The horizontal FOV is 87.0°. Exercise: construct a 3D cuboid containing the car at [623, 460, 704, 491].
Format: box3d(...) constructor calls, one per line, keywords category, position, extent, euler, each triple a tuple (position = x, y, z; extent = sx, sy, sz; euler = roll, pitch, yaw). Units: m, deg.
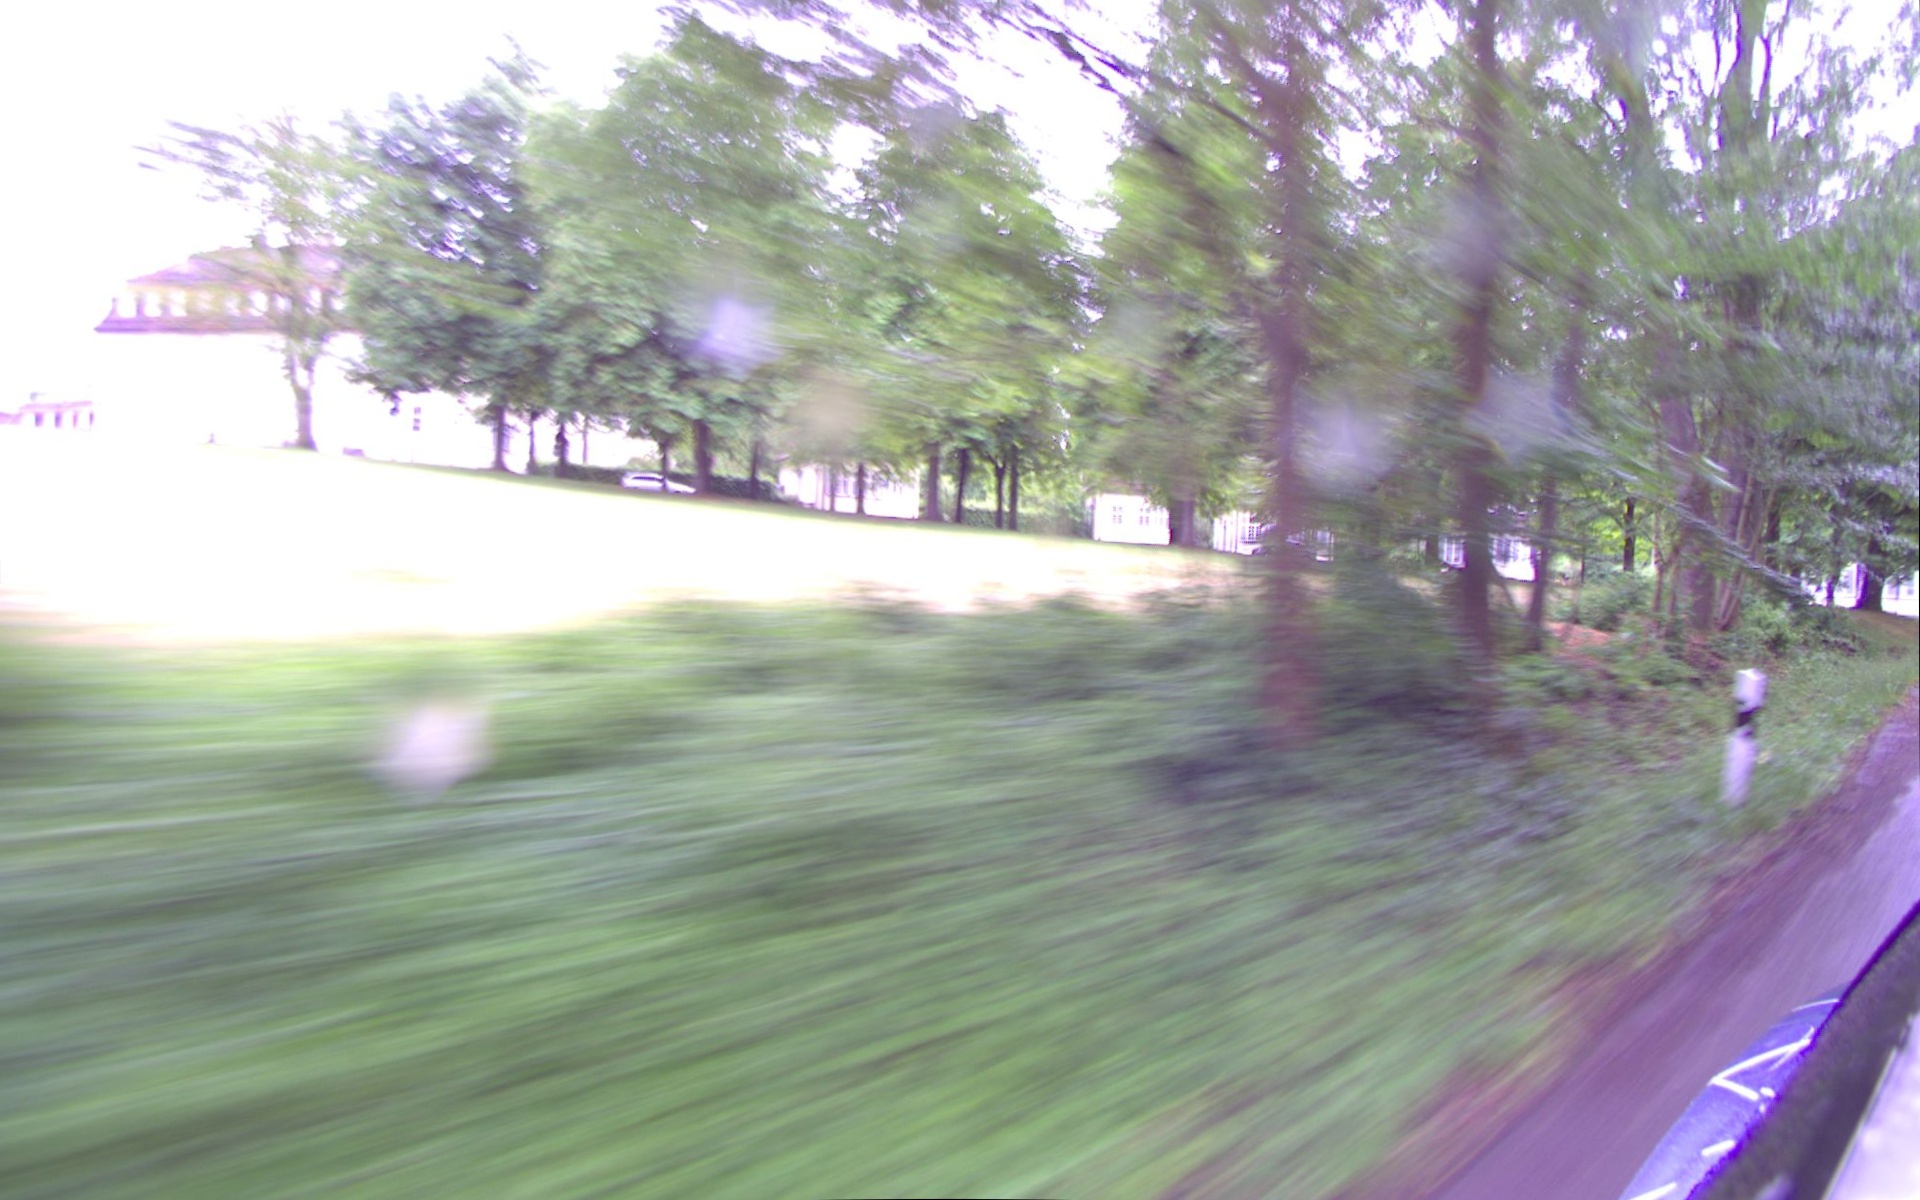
box3d(category="car", position=(-17.817, -7.473, 60.895), extent=(4.221, 1.444, 1.999), euler=(6, 4, 6))
